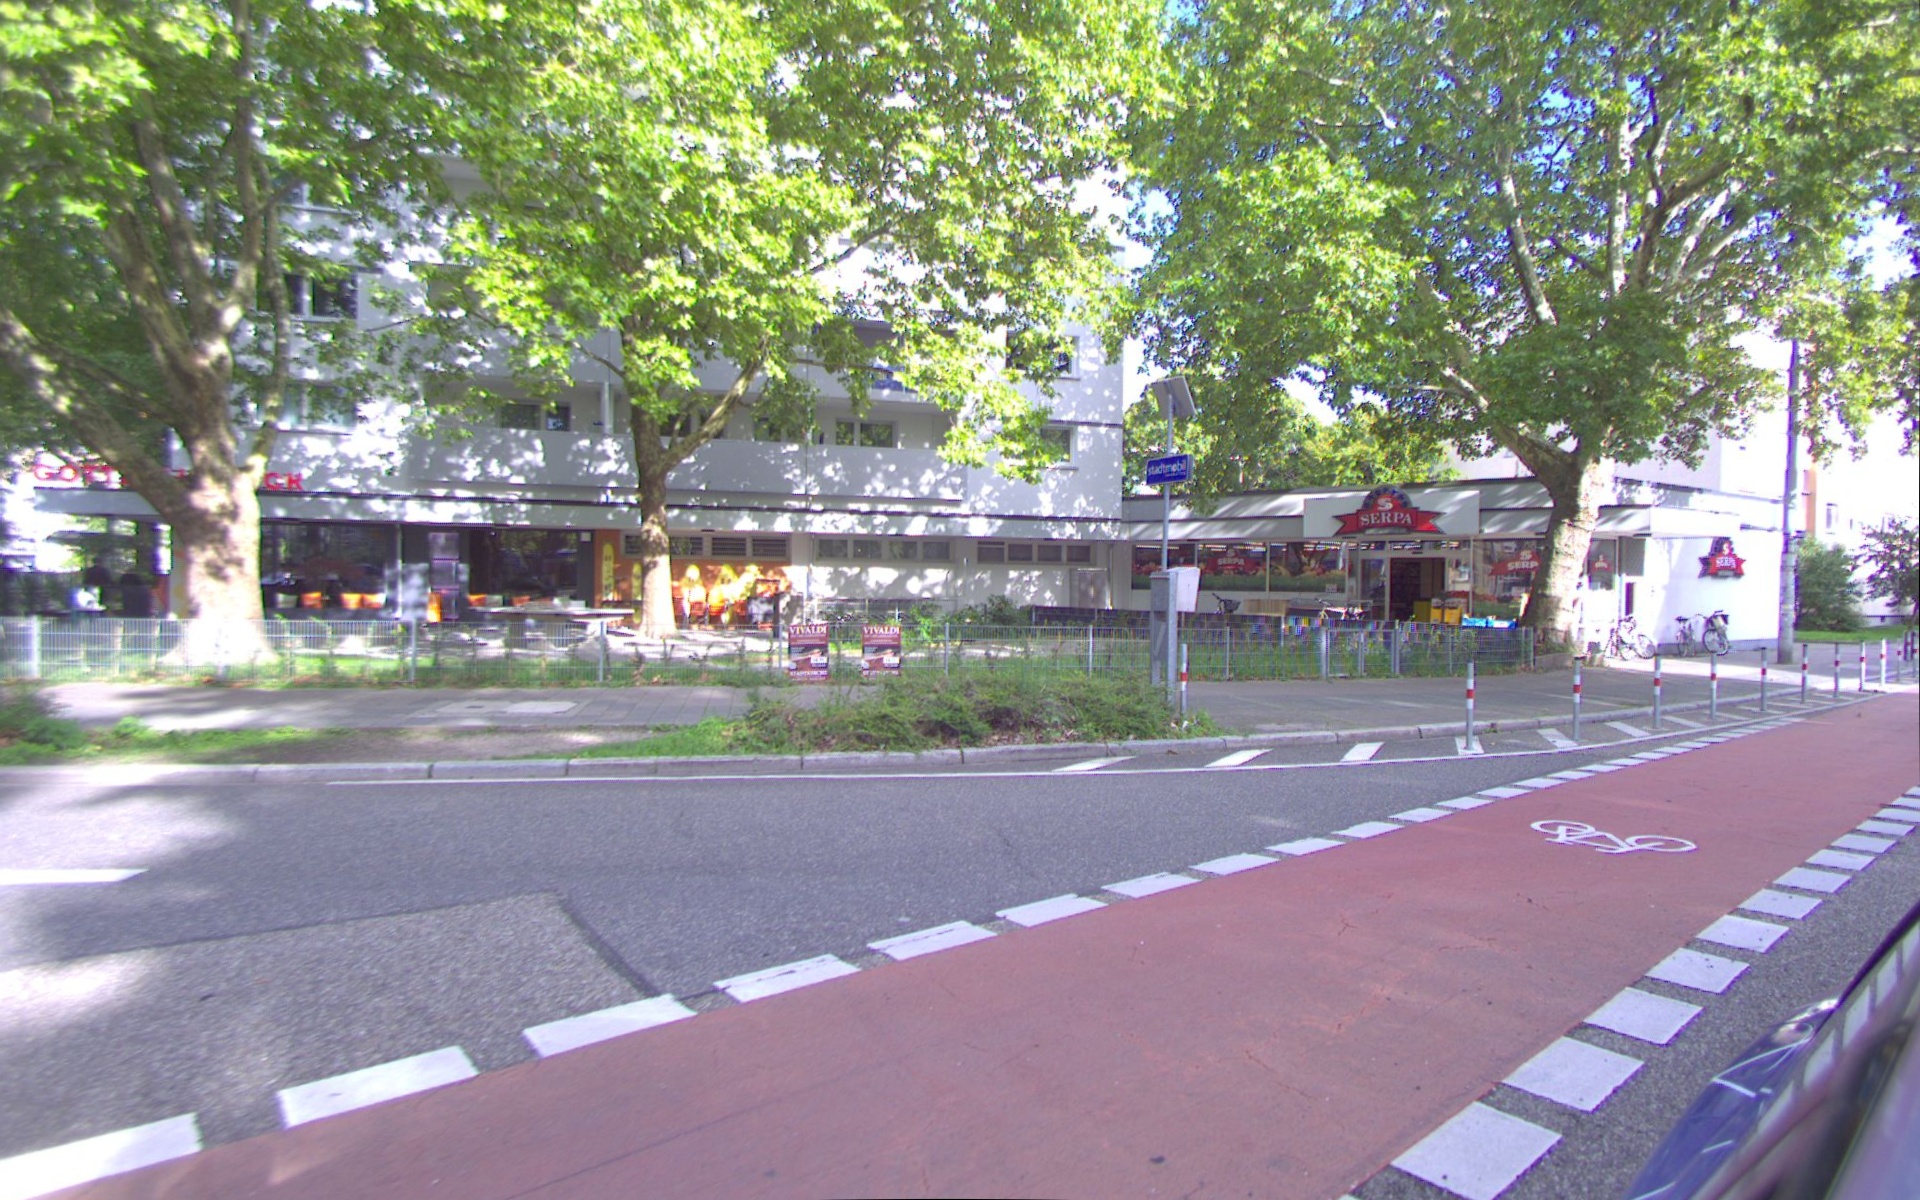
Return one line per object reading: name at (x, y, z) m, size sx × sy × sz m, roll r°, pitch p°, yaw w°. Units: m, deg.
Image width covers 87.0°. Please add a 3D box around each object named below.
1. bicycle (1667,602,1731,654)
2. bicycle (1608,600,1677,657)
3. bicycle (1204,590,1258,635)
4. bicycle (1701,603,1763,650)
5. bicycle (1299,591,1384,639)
bicycle at (19.038, 0.699, 26.067) m, size 1.737 × 1.220 × 0.714 m, roll -1°, pitch 4°, yaw -34°
bicycle at (16.209, 0.656, 24.032) m, size 1.781 × 1.220 × 0.715 m, roll -1°, pitch 4°, yaw -36°
bicycle at (7.005, 0.307, 26.110) m, size 0.689 × 1.084 × 1.831 m, roll 2°, pitch 2°, yaw 37°
bicycle at (20.712, 0.694, 27.146) m, size 1.780 × 1.221 × 0.771 m, roll 0°, pitch 1°, yaw -34°
bicycle at (9.227, 0.368, 24.478) m, size 1.817 × 1.053 × 0.749 m, roll 2°, pitch -5°, yaw -14°
